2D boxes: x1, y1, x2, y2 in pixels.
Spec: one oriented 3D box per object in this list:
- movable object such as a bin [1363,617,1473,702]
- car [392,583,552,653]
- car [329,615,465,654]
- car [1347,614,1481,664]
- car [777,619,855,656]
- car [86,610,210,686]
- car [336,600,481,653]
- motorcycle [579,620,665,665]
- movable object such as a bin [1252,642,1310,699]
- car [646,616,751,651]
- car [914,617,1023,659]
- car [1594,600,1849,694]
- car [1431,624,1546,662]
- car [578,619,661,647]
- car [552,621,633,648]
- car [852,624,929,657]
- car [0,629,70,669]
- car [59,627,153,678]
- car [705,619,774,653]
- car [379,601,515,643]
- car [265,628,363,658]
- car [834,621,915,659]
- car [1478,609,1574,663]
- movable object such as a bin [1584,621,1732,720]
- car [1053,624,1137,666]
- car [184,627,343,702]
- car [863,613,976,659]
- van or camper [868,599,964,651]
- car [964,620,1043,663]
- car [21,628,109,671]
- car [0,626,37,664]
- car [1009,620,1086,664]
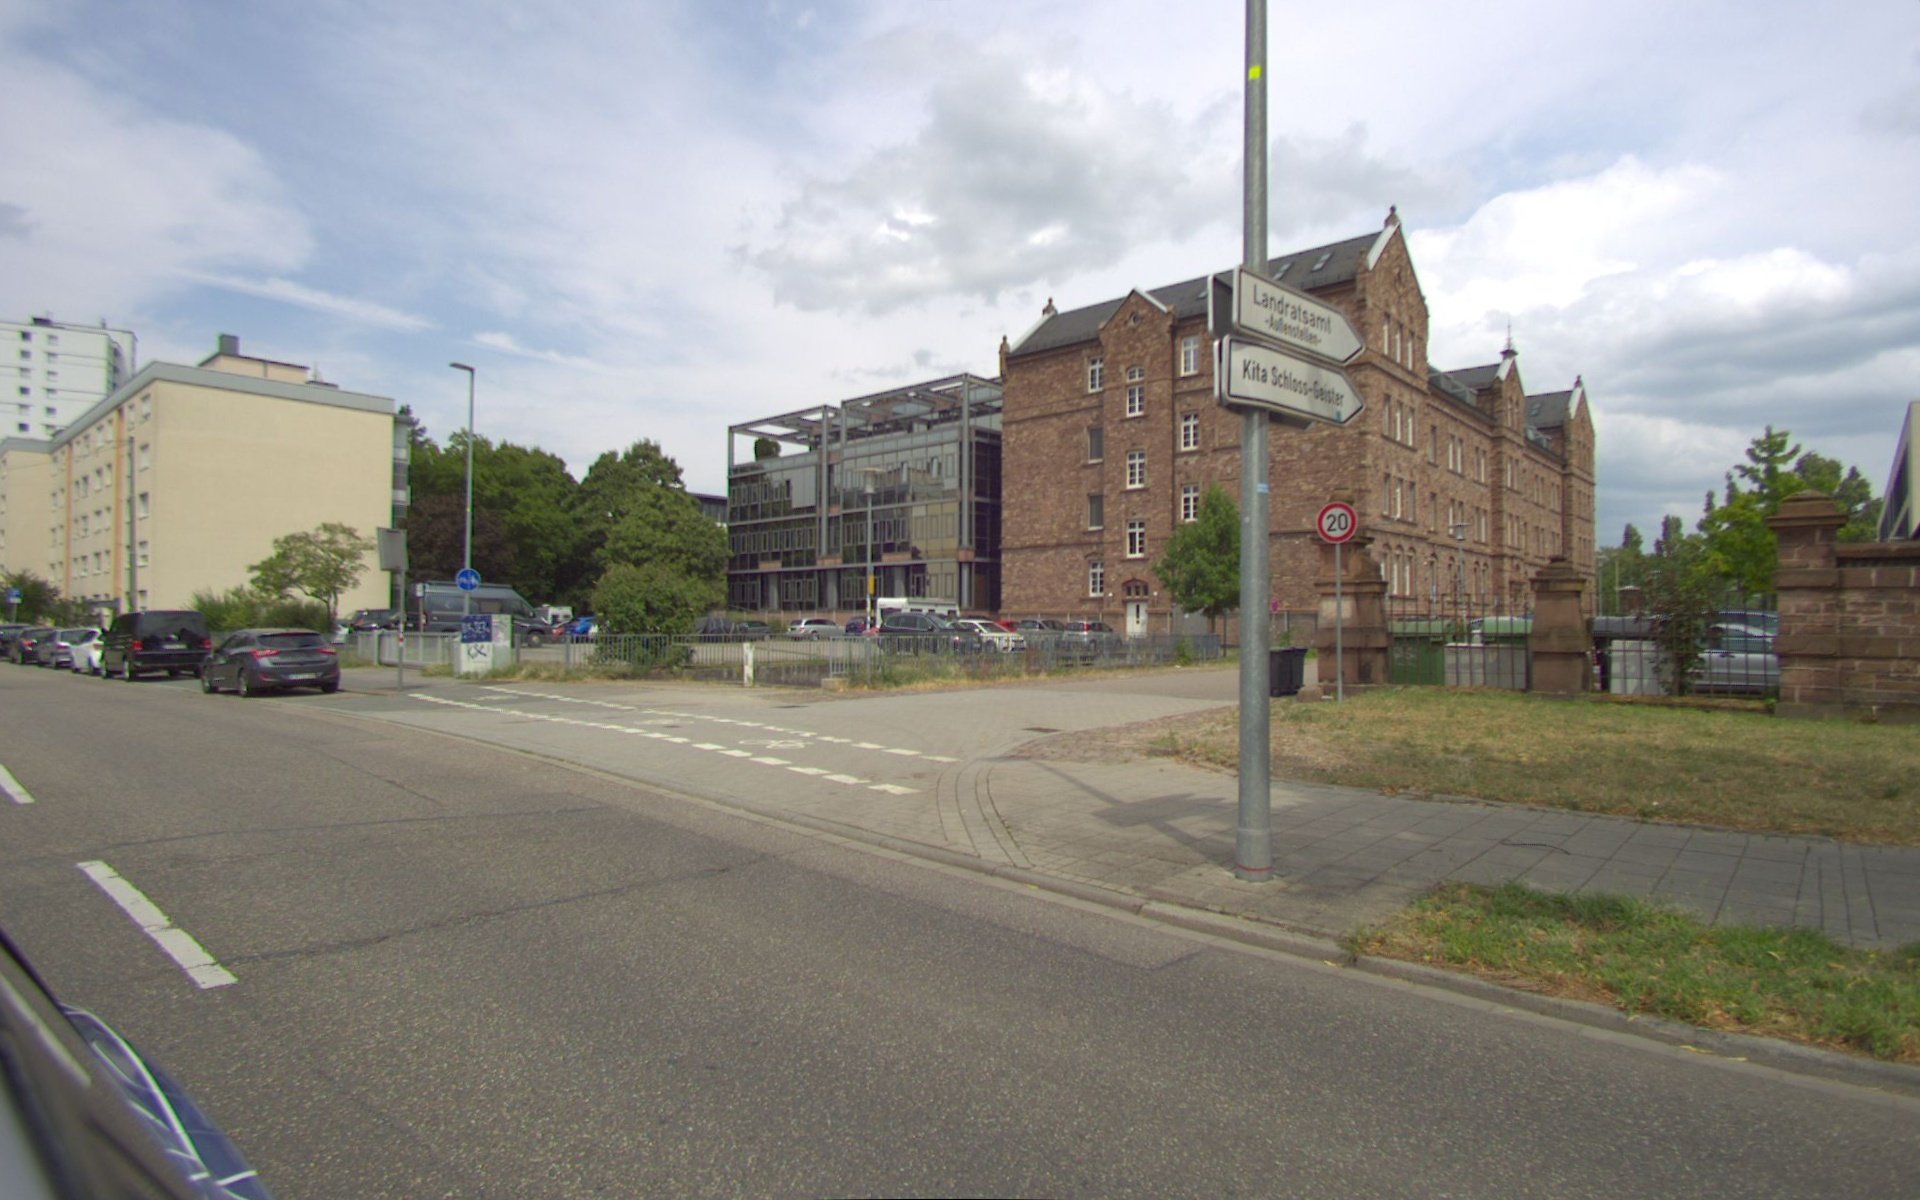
[{"bbox_3d":[8.495,1.073,18.775,1.570,1.479,1.188,-1,-2,42],"label":"movable object such as a bin"},{"bbox_3d":[-19.438,0.668,40.501,2.354,2.571,5.254,-2,0,42],"label":"car"},{"bbox_3d":[-25.400,1.572,45.815,2.001,1.686,5.029,-3,-3,43],"label":"car"},{"bbox_3d":[16.537,1.424,36.980,4.168,1.724,1.566,-3,-3,44],"label":"car"},{"bbox_3d":[-8.859,2.336,62.344,2.205,2.153,4.312,-2,-4,44],"label":"car"},{"bbox_3d":[-23.686,1.362,29.465,4.839,2.019,1.929,-2,-1,40],"label":"car"},{"bbox_3d":[-23.786,1.210,43.770,2.228,2.166,5.029,-3,-4,43],"label":"car"},{"bbox_3d":[-9.028,1.160,27.099,0.725,1.151,2.066,-2,-4,45],"label":"motorcycle"},{"bbox_3d":[6.152,1.339,19.371,0.709,1.041,1.027,-1,-2,42],"label":"movable object such as a bin"},{"bbox_3d":[-13.243,1.755,51.508,2.330,1.677,4.641,-2,-4,42],"label":"car"},{"bbox_3d":[0.318,1.533,41.676,4.232,1.669,1.944,-1,-2,40],"label":"car"},{"bbox_3d":[15.511,1.005,20.732,3.957,1.724,1.748,-5,-5,42],"label":"car"},{"bbox_3d":[23.201,1.899,44.527,4.168,1.562,1.566,-3,-3,43],"label":"car"},{"bbox_3d":[-18.941,1.831,56.335,1.969,1.494,3.946,-1,-2,40],"label":"car"},{"bbox_3d":[-20.999,1.973,57.905,1.856,1.494,3.946,-1,-2,40],"label":"car"},{"bbox_3d":[-3.909,2.313,57.501,1.727,1.798,4.312,-2,-4,44],"label":"car"},{"bbox_3d":[-36.809,1.898,40.171,4.045,1.481,1.670,-2,-2,41],"label":"car"},{"bbox_3d":[-27.826,1.699,32.949,3.760,1.541,1.638,-2,-2,38],"label":"car"},{"bbox_3d":[-14.607,2.392,67.171,1.969,2.153,4.175,-2,-4,39],"label":"car"},{"bbox_3d":[-21.375,0.945,42.313,2.000,1.630,4.646,-2,-3,42],"label":"car"},{"bbox_3d":[-33.077,2.174,51.874,3.940,1.494,2.002,2,-2,-44],"label":"car"},{"bbox_3d":[-4.983,2.353,59.391,2.205,2.153,4.312,-2,-4,44],"label":"car"},{"bbox_3d":[30.052,1.929,53.838,4.166,2.734,1.567,-3,-3,42],"label":"car"},{"bbox_3d":[11.012,1.083,16.057,1.557,1.479,1.325,0,-2,17],"label":"movable object such as a bin"},{"bbox_3d":[6.625,2.191,49.368,1.875,1.952,4.457,-2,-4,42],"label":"car"},{"bbox_3d":[-15.779,1.404,22.846,4.292,1.484,1.804,-2,-1,39],"label":"car"},{"bbox_3d":[-1.607,1.373,39.339,4.232,1.669,1.944,-1,-2,40],"label":"car"},{"bbox_3d":[-2.332,1.426,55.289,2.579,2.723,4.997,-1,-3,39],"label":"van or camper"},{"bbox_3d":[2.298,2.165,52.649,1.804,2.153,4.315,-2,-4,42],"label":"car"},{"bbox_3d":[-32.304,1.757,36.491,4.258,1.468,1.671,-2,-3,39],"label":"car"},{"bbox_3d":[-41.281,1.925,43.518,3.993,1.587,1.607,-1,-2,37],"label":"car"},{"bbox_3d":[4.482,2.162,51.252,1.725,2.153,4.316,-2,-4,41],"label":"car"}]
